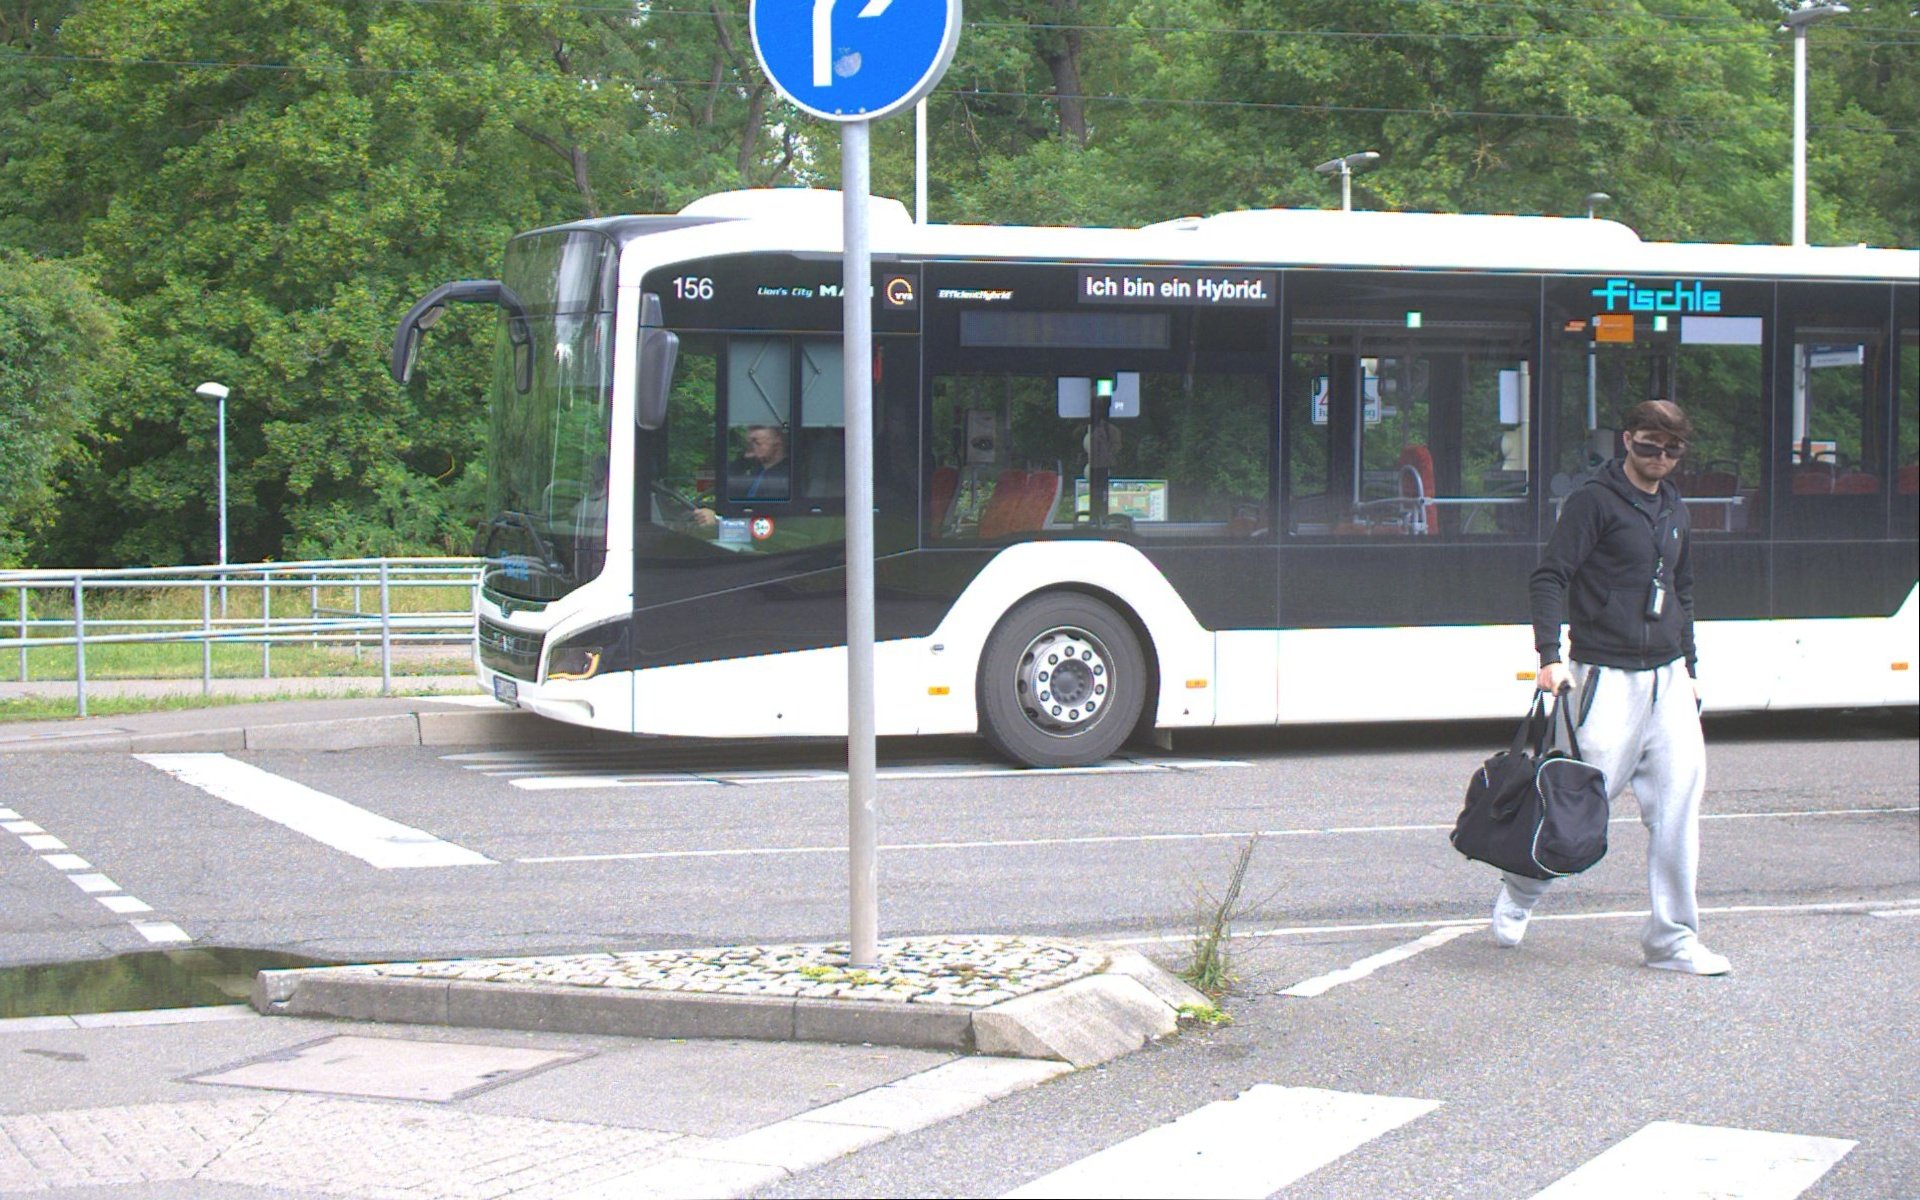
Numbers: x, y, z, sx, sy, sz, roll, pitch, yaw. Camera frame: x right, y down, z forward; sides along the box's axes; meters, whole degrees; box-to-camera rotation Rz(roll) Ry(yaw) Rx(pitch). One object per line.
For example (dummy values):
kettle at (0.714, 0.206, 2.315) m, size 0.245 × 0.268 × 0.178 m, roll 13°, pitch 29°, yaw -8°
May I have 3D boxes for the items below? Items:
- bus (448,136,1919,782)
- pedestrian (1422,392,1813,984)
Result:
bus at (3.252, -0.786, 20.441) m, size 12.156 × 3.192 × 2.676 m, roll -1°, pitch 1°, yaw -21°
pedestrian at (2.007, 0.251, 10.658) m, size 0.954 × 1.741 × 1.062 m, roll 0°, pitch 1°, yaw -2°
